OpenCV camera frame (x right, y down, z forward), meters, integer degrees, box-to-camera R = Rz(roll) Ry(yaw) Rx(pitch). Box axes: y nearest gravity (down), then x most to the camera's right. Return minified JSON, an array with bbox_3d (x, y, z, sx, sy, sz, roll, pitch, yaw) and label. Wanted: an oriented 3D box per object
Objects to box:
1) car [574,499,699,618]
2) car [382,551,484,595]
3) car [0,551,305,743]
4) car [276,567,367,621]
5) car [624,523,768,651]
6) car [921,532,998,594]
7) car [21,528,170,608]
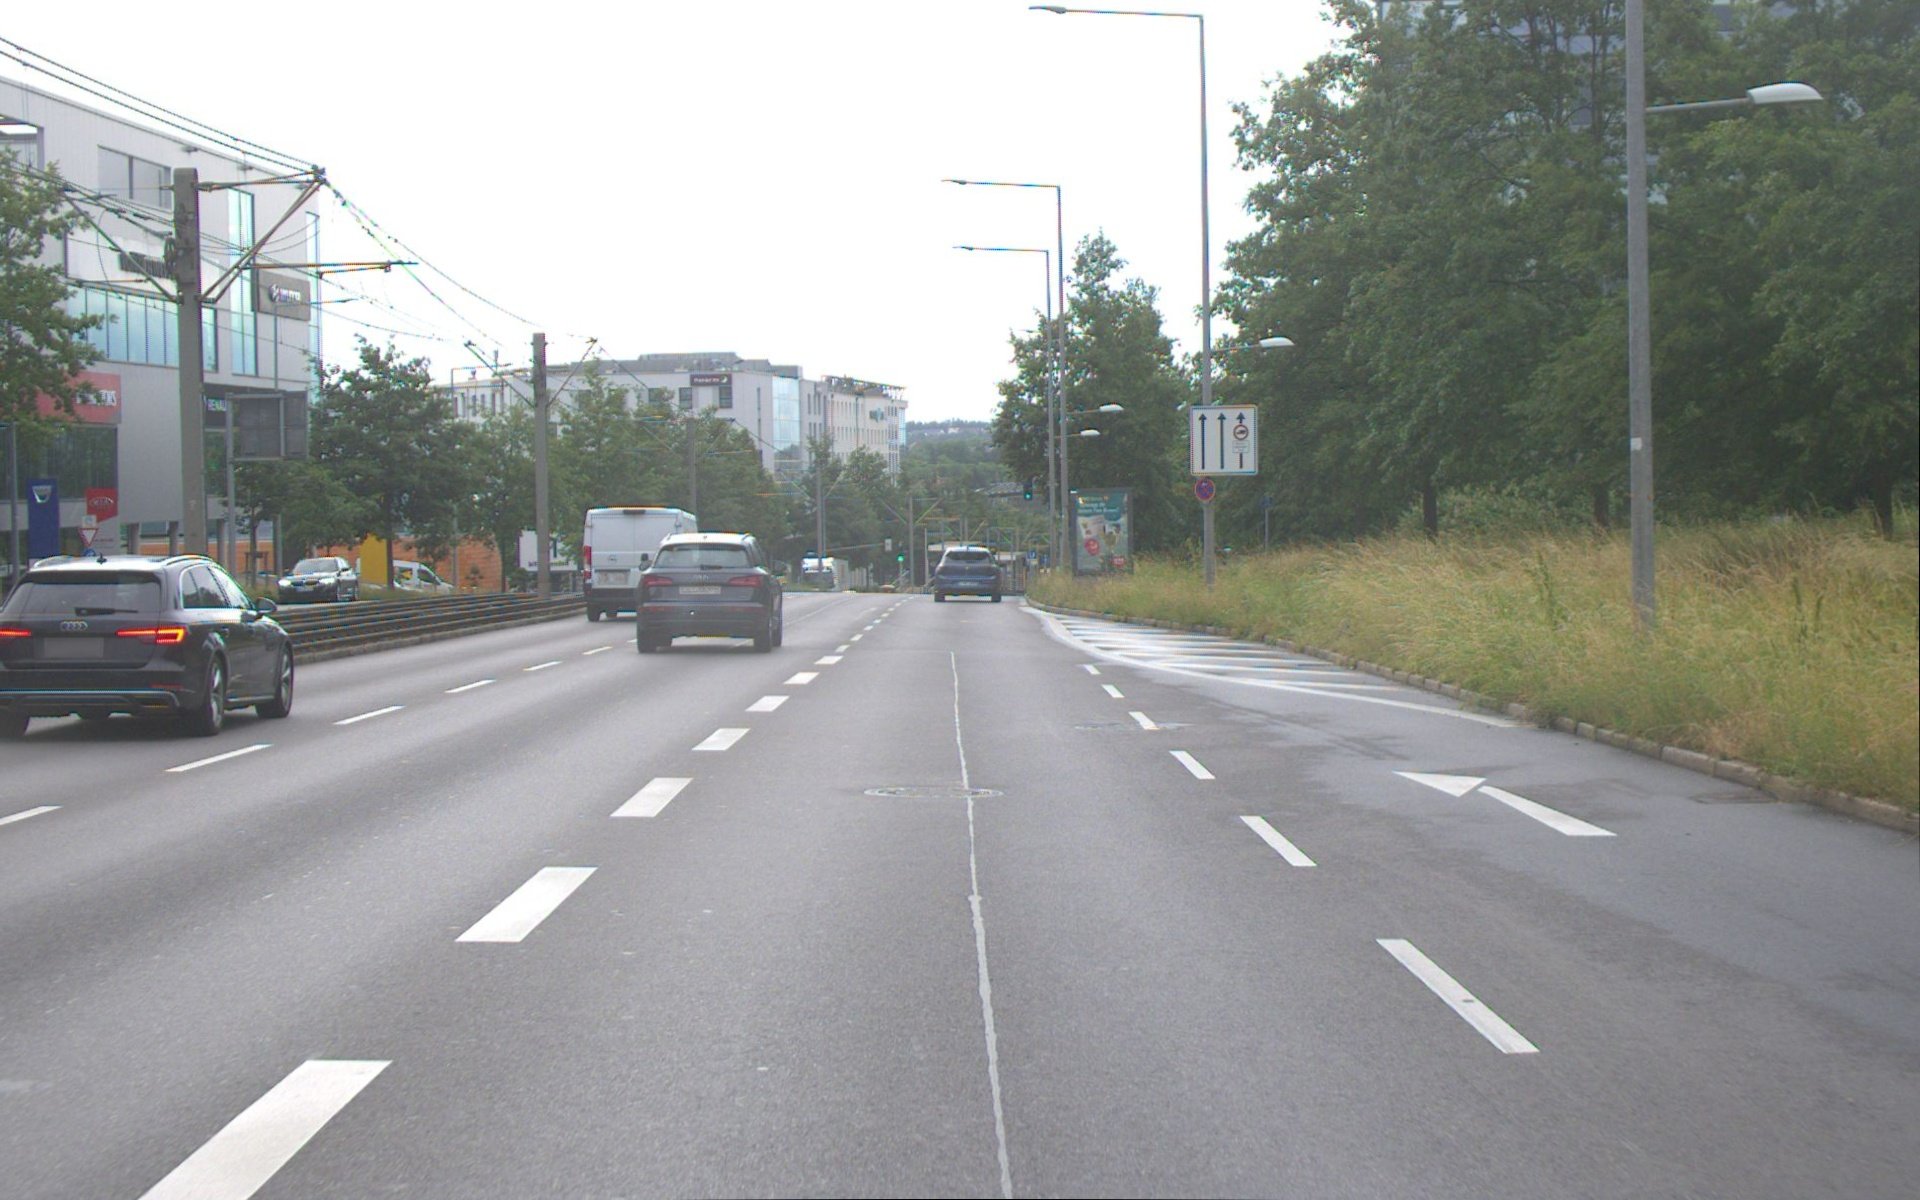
[{"bbox_3d":[-6.474,-0.847,69.256,2.267,2.277,4.760,1,1,-3],"label":"car"},{"bbox_3d":[-28.555,-1.457,186.295,5.302,2.305,2.020,1,-1,-4],"label":"car"},{"bbox_3d":[-6.657,0.318,28.159,1.785,1.409,4.806,1,1,-2],"label":"car"},{"bbox_3d":[-19.855,-0.203,107.091,1.841,1.481,4.654,-3,1,0],"label":"car"},{"bbox_3d":[-3.675,-0.214,48.387,1.922,1.705,4.099,1,1,-3],"label":"car"},{"bbox_3d":[-0.046,-0.976,91.787,1.789,1.585,4.000,-1,0,-3],"label":"car"},{"bbox_3d":[-17.211,-0.610,68.643,1.772,1.497,4.199,1,-1,2],"label":"car"}]
